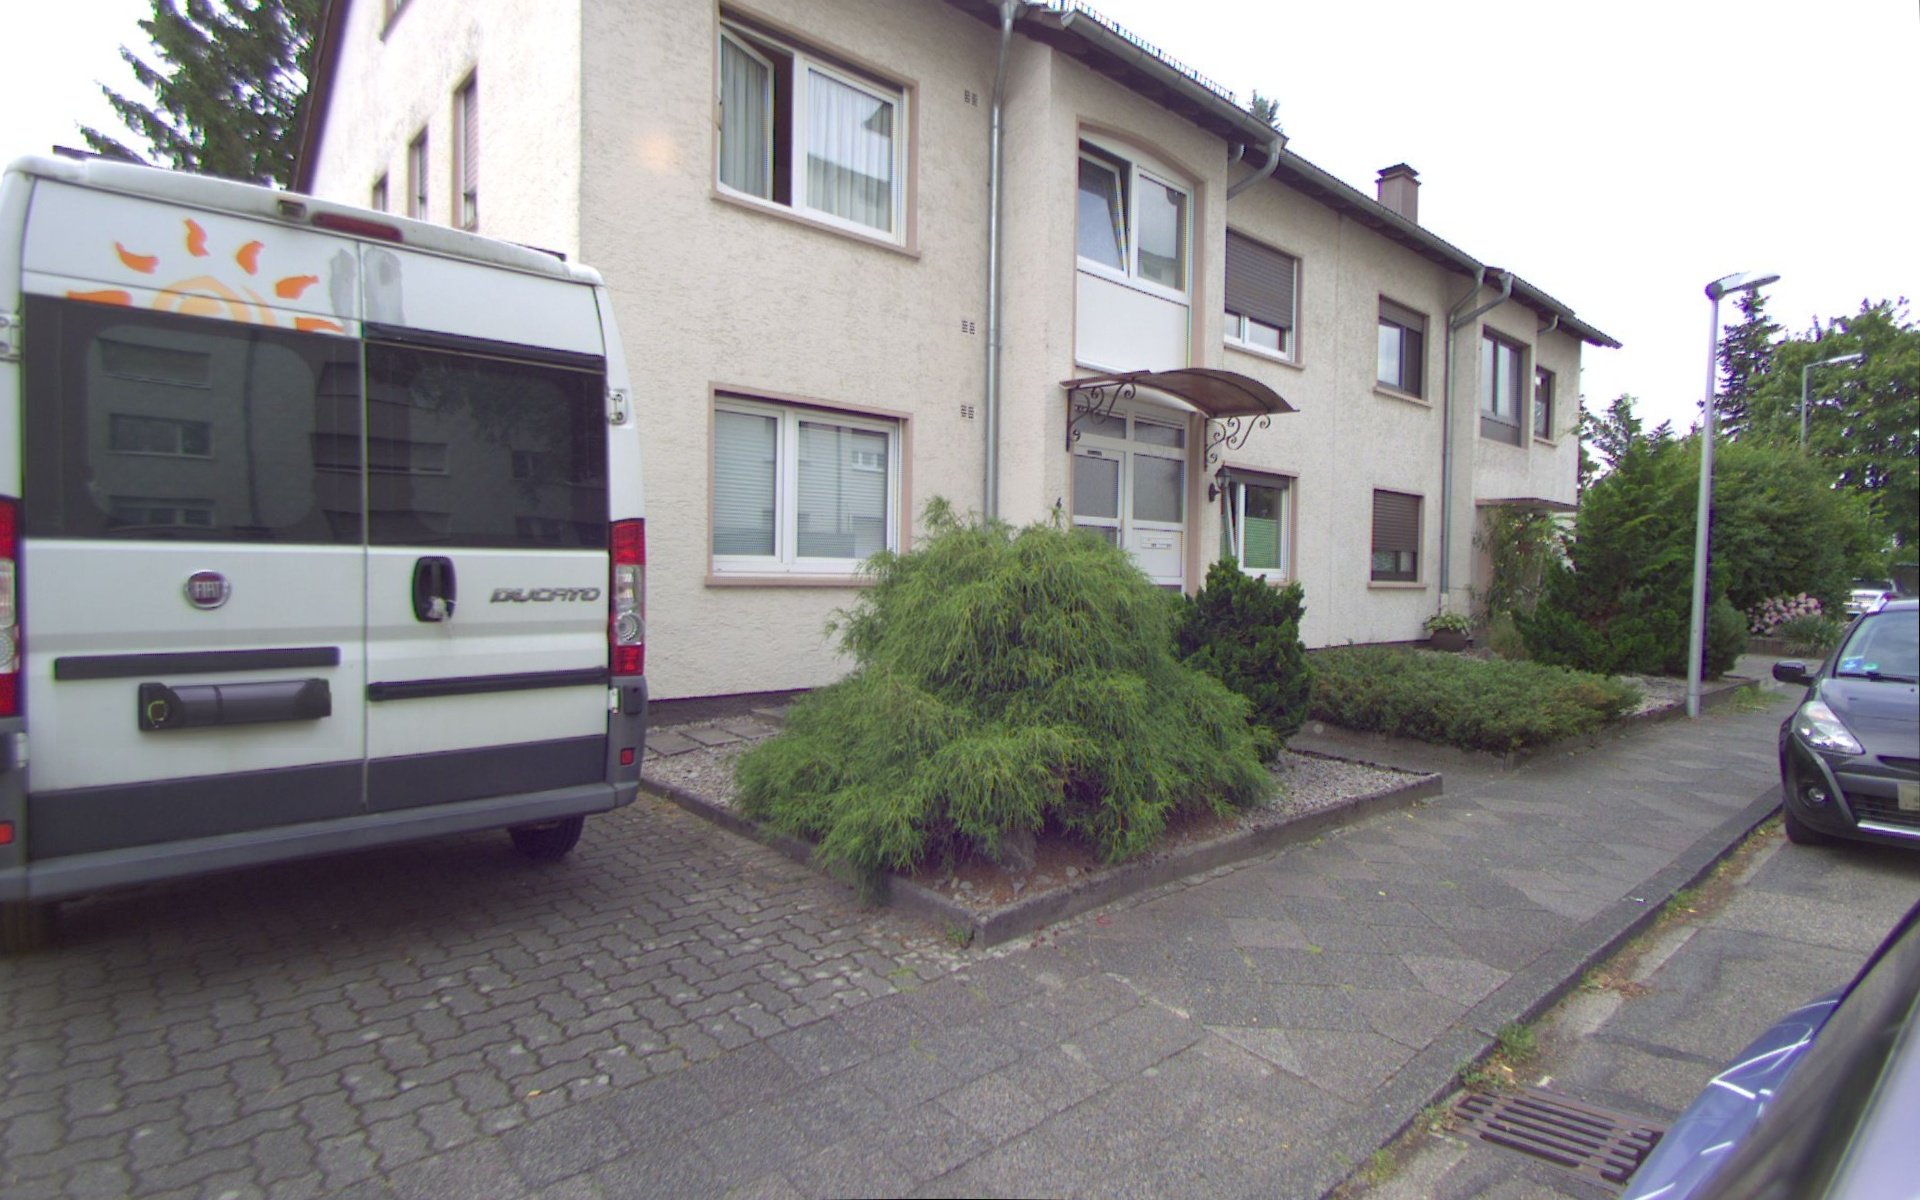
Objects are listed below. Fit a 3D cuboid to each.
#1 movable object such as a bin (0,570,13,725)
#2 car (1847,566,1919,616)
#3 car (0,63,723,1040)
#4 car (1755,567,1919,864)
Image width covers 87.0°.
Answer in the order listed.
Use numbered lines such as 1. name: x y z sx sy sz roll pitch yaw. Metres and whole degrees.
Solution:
1. movable object such as a bin: -7.057 0.332 7.136 0.537 1.069 0.456 -1 4 -43
2. car: 30.405 -0.340 33.196 3.936 1.484 1.702 -3 4 -45
3. car: -3.463 -0.258 5.247 2.199 2.573 5.098 0 3 -41
4. car: 6.420 0.559 6.277 4.122 1.476 1.831 -1 1 -44
